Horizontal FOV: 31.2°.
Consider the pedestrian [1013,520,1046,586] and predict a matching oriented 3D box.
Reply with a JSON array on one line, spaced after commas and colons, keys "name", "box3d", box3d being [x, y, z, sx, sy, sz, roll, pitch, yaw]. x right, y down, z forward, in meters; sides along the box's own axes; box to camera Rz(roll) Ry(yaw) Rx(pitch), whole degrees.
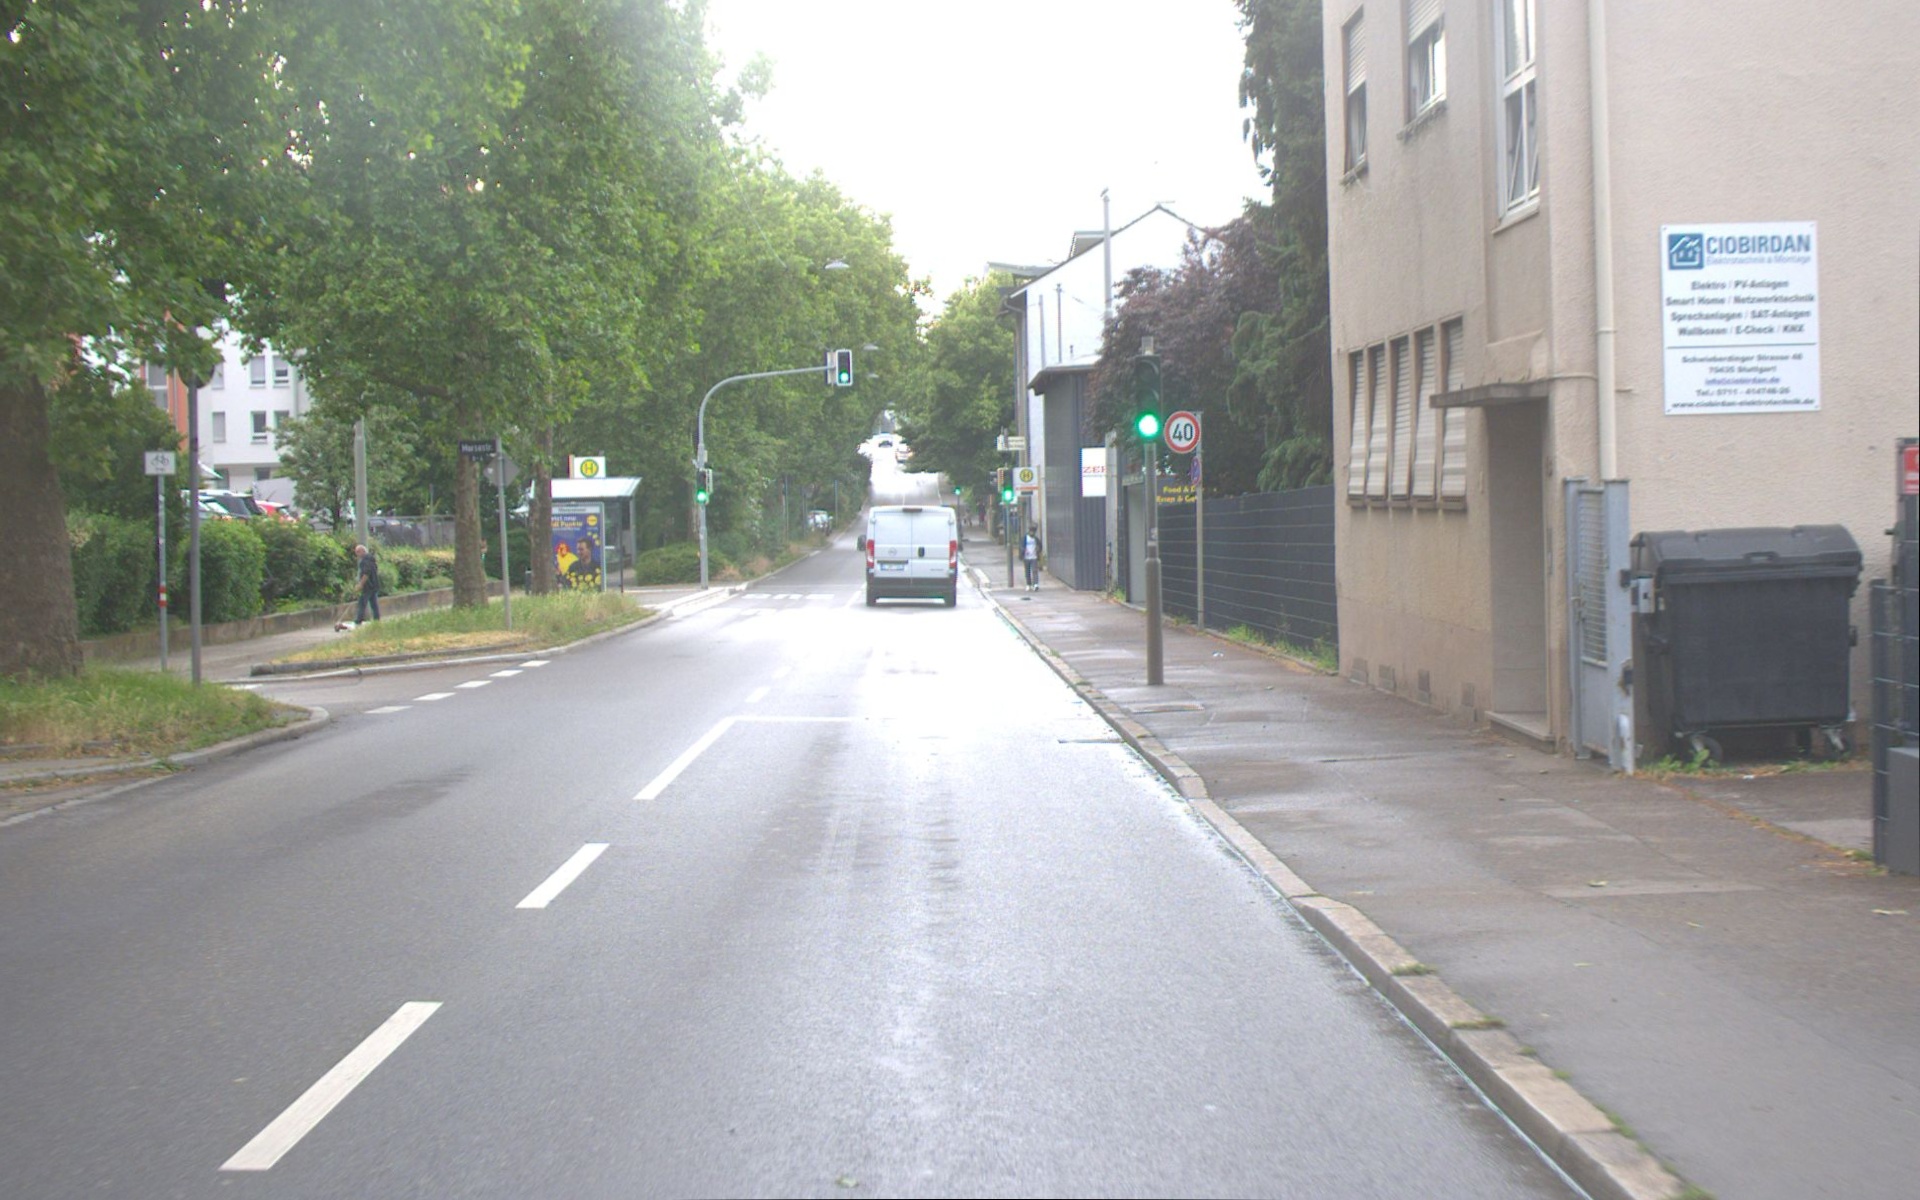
[{"name": "pedestrian", "box3d": [1.815, -1.223, 89.621, 0.742, 1.698, 0.902, 1, 0, -6]}]

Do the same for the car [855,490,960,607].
[{"name": "car", "box3d": [-1.173, -1.133, 77.833, 2.282, 2.544, 4.000, -1, 0, 0]}]

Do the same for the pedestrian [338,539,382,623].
[{"name": "pedestrian", "box3d": [-11.583, -0.359, 66.408, 0.755, 1.605, 0.835, 1, 0, -5]}]

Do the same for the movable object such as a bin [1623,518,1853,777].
[{"name": "movable object such as a bin", "box3d": [4.786, 0.287, 21.228, 1.110, 1.504, 0.987, -3, 0, -1]}]

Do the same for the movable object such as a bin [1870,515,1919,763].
[{"name": "movable object such as a bin", "box3d": [6.407, 0.208, 21.157, 1.234, 1.504, 1.111, -3, 0, -1]}]

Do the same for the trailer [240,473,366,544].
[{"name": "trailer", "box3d": [-15.637, -2.176, 81.841, 2.704, 1.639, 1.480, 0, 1, 0]}]

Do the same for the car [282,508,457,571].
[{"name": "car", "box3d": [-16.369, -1.662, 95.482, 4.545, 1.666, 2.000, 1, 0, -1]}]
